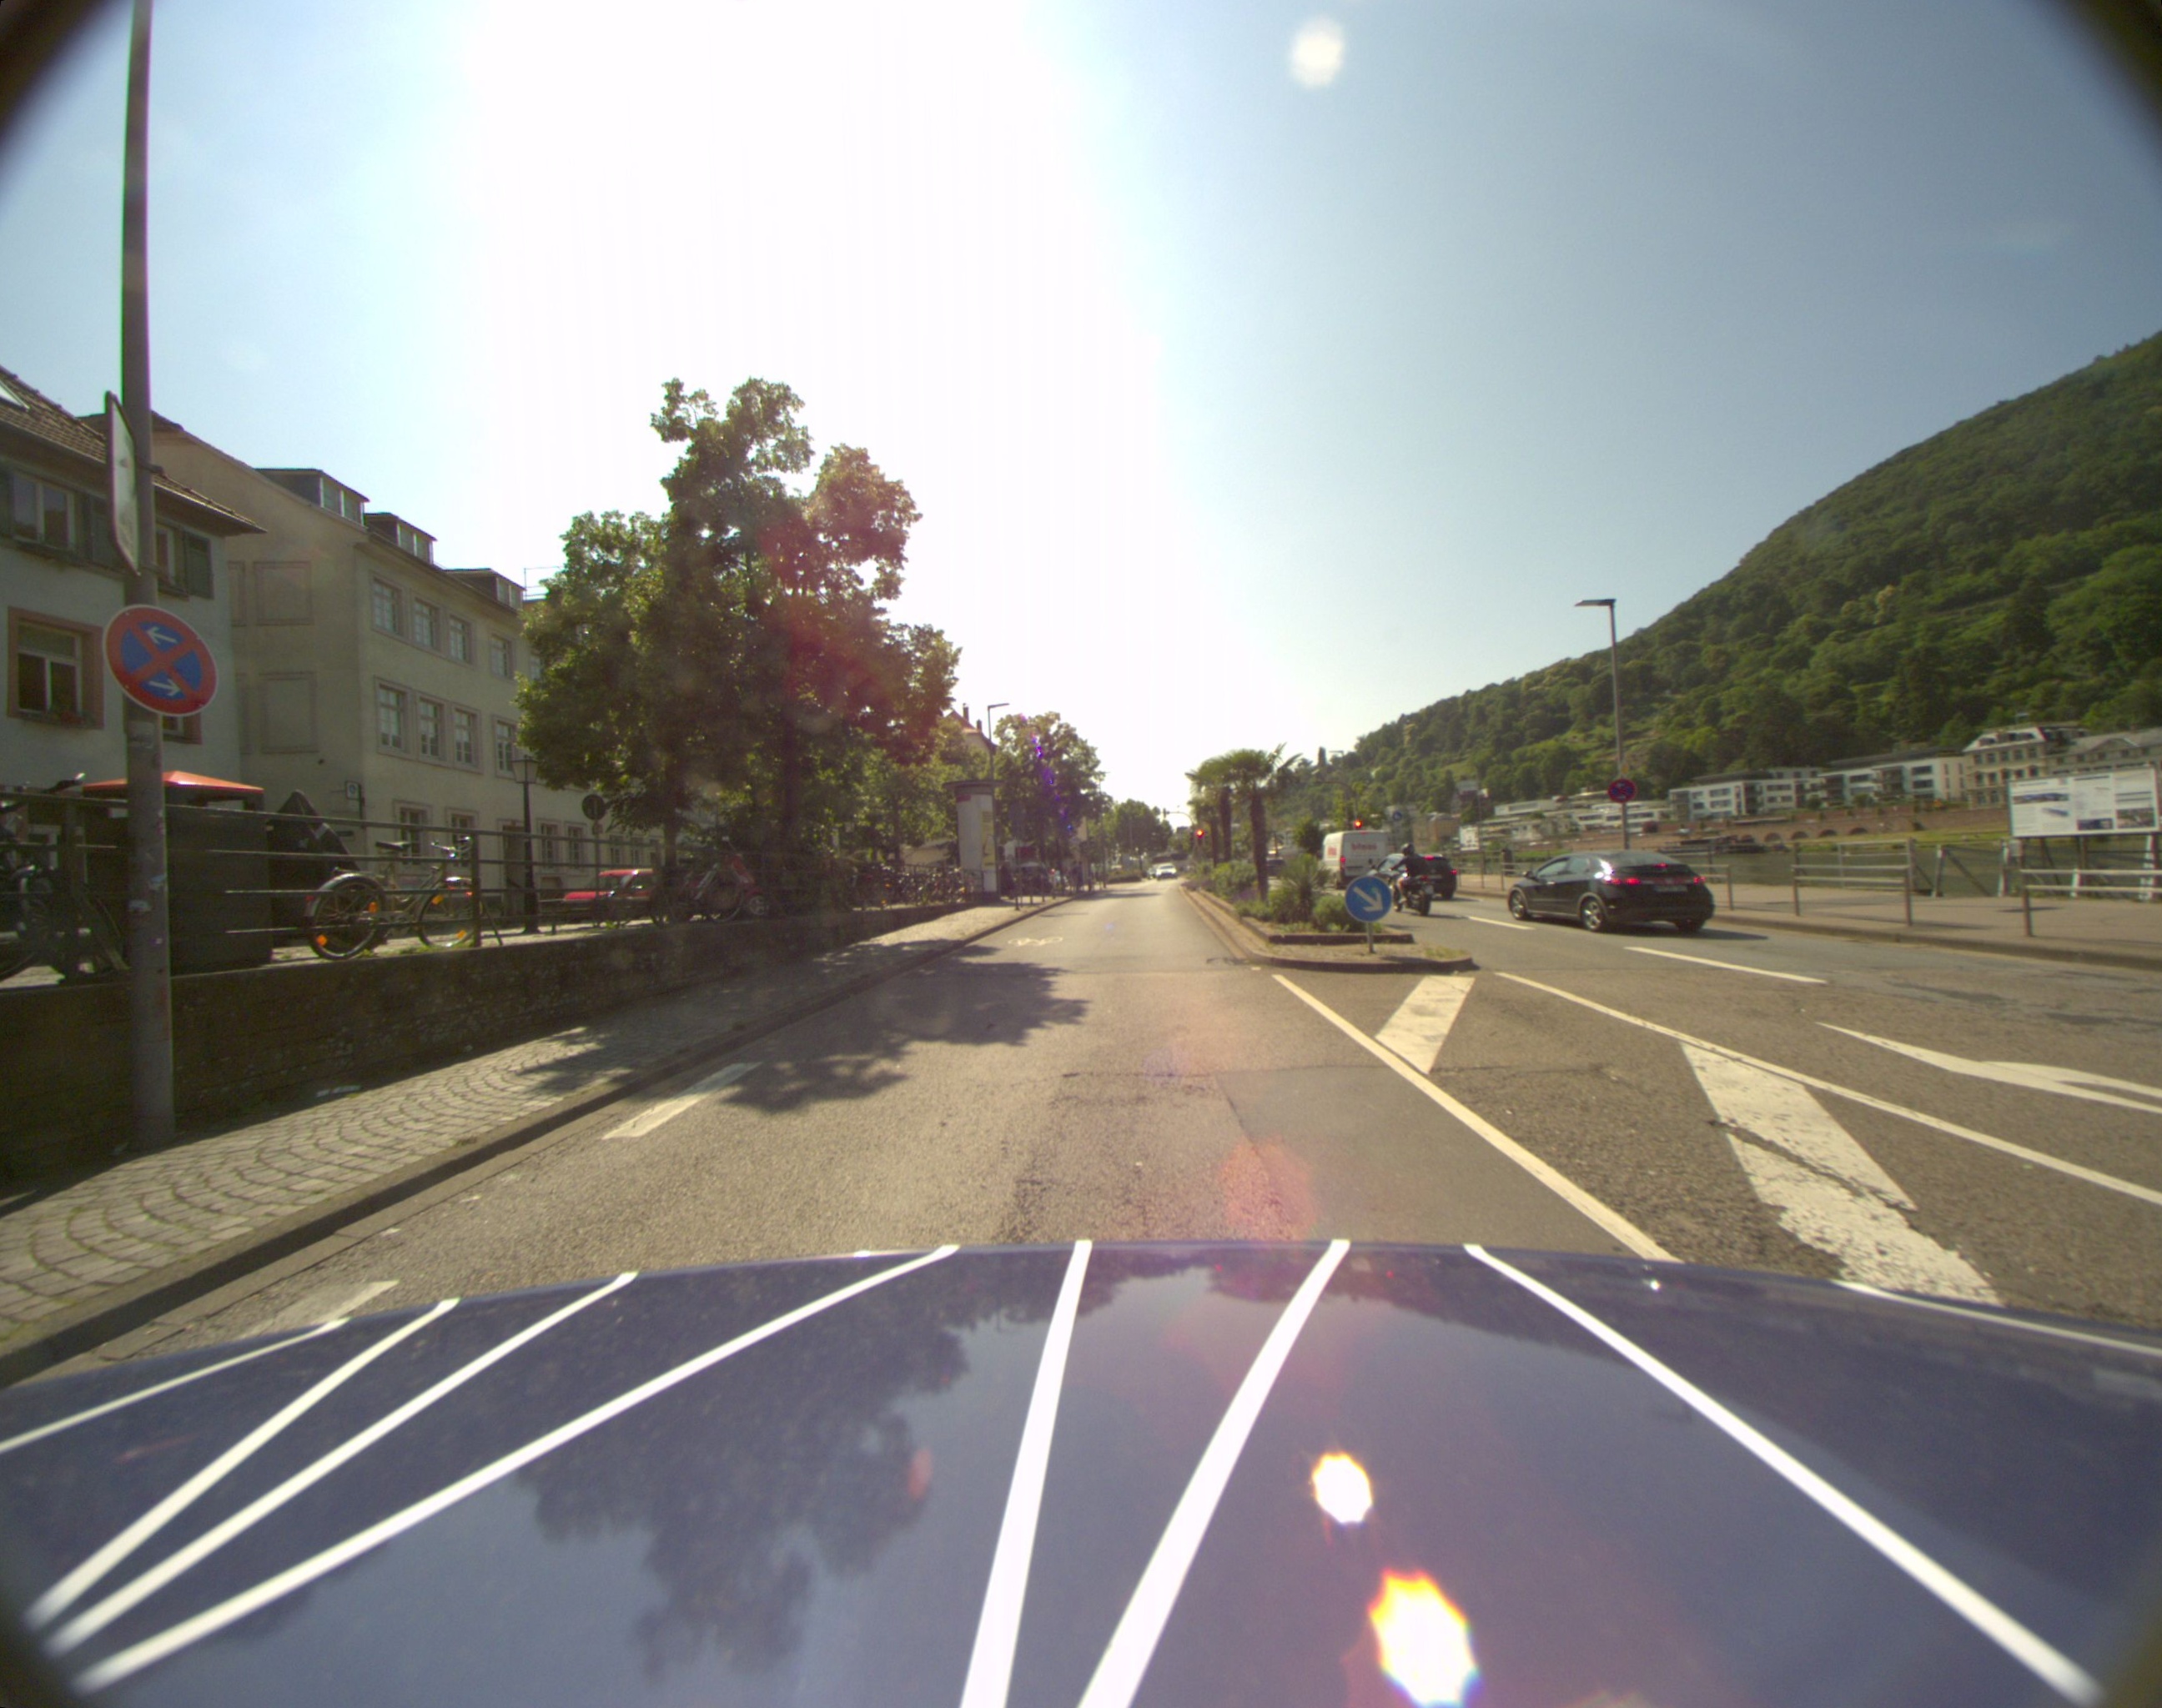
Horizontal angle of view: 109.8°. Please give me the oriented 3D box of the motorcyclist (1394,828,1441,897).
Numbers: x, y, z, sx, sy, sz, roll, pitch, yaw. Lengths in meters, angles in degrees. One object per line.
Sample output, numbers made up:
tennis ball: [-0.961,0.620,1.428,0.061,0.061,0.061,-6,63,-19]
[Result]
motorcyclist: [7.724,0.187,17.472,0.703,1.517,0.861,-2,0,7]

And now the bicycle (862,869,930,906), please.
bicycle: [-5.592,1.008,23.011,1.953,1.094,0.423,-1,0,5]

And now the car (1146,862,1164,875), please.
car: [9.021,1.763,92.906,1.998,1.497,4.593,0,0,3]

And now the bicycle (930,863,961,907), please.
bicycle: [-4.141,0.913,23.353,0.476,1.254,2.163,-1,0,3]

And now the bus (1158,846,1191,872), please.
bus: [13.267,0.706,108.790,2.656,3.368,10.792,-2,0,-3]

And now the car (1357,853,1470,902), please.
car: [10.964,0.724,25.454,1.998,1.410,4.922,-3,0,6]

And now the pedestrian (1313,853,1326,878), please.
pedestrian: [16.915,0.783,53.893,0.593,1.741,0.781,-2,0,3]

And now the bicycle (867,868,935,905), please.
bicycle: [-5.564,1.004,23.479,1.966,1.105,0.477,-1,0,5]

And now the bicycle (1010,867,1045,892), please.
bicycle: [-2.503,1.197,35.730,1.628,1.163,0.367,-2,-1,23]

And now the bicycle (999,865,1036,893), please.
bicycle: [-2.838,1.110,34.047,1.631,1.210,0.413,0,0,1]

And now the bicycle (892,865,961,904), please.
bicycle: [-5.137,1.014,25.261,2.160,1.254,0.477,-1,0,5]

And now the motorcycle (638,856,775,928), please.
motorcycle: [-6.123,0.606,12.486,1.920,1.092,0.575,-2,0,-3]

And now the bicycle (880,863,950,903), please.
bicycle: [-5.326,0.937,24.445,2.160,1.254,0.421,-1,0,5]

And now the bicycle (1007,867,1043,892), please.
bicycle: [-2.621,1.185,35.444,1.628,1.163,0.425,-2,-1,23]

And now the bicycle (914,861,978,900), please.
bicycle: [-4.847,0.959,27.330,2.160,1.360,0.584,-1,0,5]

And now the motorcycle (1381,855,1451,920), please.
motorcycle: [7.697,0.723,17.577,0.727,1.379,2.513,-2,0,7]

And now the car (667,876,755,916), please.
car: [-15.115,1.699,31.245,1.587,1.469,3.563,-2,-2,5]

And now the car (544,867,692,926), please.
car: [-15.690,1.416,26.121,1.835,1.789,4.740,-2,-2,5]

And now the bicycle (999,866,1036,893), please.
bicycle: [-2.875,1.166,34.485,1.631,1.210,0.413,0,0,1]

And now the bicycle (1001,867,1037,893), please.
bicycle: [-2.836,1.190,34.788,1.631,1.163,0.350,0,0,1]

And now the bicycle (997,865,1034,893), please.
bicycle: [-2.895,1.116,33.629,1.631,1.210,0.413,0,0,1]

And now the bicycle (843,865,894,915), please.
bicycle: [-4.671,0.774,16.837,0.301,1.042,2.164,-1,-1,6]

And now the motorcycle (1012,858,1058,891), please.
motorcycle: [-2.254,1.018,37.021,2.196,1.519,0.800,-3,0,41]

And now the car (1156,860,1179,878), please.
car: [7.915,1.350,69.671,1.997,1.497,4.595,-3,-1,7]

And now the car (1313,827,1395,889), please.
car: [11.903,0.163,33.491,2.199,2.511,4.750,0,0,5]

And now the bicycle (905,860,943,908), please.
bicycle: [-4.338,0.804,21.102,0.476,1.254,2.163,-1,0,3]

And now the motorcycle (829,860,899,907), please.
motorcycle: [-6.315,0.875,22.047,2.157,1.305,0.650,-3,-1,33]

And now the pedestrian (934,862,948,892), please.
pedestrian: [-7.046,1.149,38.287,0.493,1.499,0.667,-2,0,4]

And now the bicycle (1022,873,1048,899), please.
bicycle: [-1.938,1.327,32.190,0.539,1.002,1.756,-2,0,16]

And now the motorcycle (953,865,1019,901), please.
motorcycle: [-3.685,1.126,29.385,2.531,1.267,0.725,-3,0,27]

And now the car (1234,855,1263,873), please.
car: [14.551,0.846,66.190,1.997,1.449,4.646,-3,0,7]

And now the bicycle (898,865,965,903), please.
bicycle: [-5.064,1.014,25.763,2.160,1.254,0.477,-1,0,5]

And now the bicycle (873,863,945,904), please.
bicycle: [-5.428,0.915,23.987,2.160,1.254,0.477,-1,0,5]

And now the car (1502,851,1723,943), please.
car: [9.764,0.703,14.393,1.660,1.428,4.083,-3,0,7]

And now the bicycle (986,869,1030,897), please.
bicycle: [-2.972,1.170,30.985,1.753,1.126,0.540,0,0,-2]

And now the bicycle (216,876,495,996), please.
bicycle: [-5.748,0.595,6.201,0.350,0.779,1.919,-2,-1,2]

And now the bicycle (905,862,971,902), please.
bicycle: [-4.950,0.959,26.285,2.160,1.360,0.477,-1,0,5]

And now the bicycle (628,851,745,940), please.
bicycle: [-5.338,0.563,10.420,0.345,1.105,1.921,-2,-3,9]

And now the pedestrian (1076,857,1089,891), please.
pedestrian: [0.091,1.034,40.136,0.541,1.767,0.583,-2,0,10]

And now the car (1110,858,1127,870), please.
car: [6.364,1.660,130.119,2.000,1.750,4.587,-3,1,-9]

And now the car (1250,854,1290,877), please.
car: [13.165,0.785,53.161,1.998,1.444,4.263,-4,0,5]

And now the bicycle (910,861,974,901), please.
bicycle: [-4.899,0.959,26.790,2.160,1.360,0.477,-1,0,5]

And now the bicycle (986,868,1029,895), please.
bicycle: [-3.085,1.164,32.027,1.753,1.126,0.464,0,0,1]

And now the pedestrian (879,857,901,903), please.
pedestrian: [-7.325,0.996,29.175,0.541,1.734,0.502,-4,0,7]

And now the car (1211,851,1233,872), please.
car: [15.219,0.776,82.275,1.869,2.137,5.025,-3,0,7]

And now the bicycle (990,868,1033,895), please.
bicycle: [-2.966,1.156,32.463,1.753,1.126,0.464,0,0,1]

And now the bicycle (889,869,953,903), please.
bicycle: [-5.232,1.053,24.835,2.028,1.086,0.338,-1,0,5]

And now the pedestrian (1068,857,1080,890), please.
pedestrian: [-0.378,1.056,40.754,0.541,1.767,0.582,-2,0,3]

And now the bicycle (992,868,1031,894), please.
bicycle: [-3.010,1.162,32.770,1.631,1.126,0.413,0,0,1]

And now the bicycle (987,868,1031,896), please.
bicycle: [-2.990,1.172,31.618,1.753,1.126,0.464,0,0,1]

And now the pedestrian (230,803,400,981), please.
pedestrian: [-6.460,0.310,6.446,0.669,1.407,0.697,-2,0,4]

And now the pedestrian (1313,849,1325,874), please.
pedestrian: [16.930,0.533,54.047,0.593,1.741,0.503,-2,0,3]
